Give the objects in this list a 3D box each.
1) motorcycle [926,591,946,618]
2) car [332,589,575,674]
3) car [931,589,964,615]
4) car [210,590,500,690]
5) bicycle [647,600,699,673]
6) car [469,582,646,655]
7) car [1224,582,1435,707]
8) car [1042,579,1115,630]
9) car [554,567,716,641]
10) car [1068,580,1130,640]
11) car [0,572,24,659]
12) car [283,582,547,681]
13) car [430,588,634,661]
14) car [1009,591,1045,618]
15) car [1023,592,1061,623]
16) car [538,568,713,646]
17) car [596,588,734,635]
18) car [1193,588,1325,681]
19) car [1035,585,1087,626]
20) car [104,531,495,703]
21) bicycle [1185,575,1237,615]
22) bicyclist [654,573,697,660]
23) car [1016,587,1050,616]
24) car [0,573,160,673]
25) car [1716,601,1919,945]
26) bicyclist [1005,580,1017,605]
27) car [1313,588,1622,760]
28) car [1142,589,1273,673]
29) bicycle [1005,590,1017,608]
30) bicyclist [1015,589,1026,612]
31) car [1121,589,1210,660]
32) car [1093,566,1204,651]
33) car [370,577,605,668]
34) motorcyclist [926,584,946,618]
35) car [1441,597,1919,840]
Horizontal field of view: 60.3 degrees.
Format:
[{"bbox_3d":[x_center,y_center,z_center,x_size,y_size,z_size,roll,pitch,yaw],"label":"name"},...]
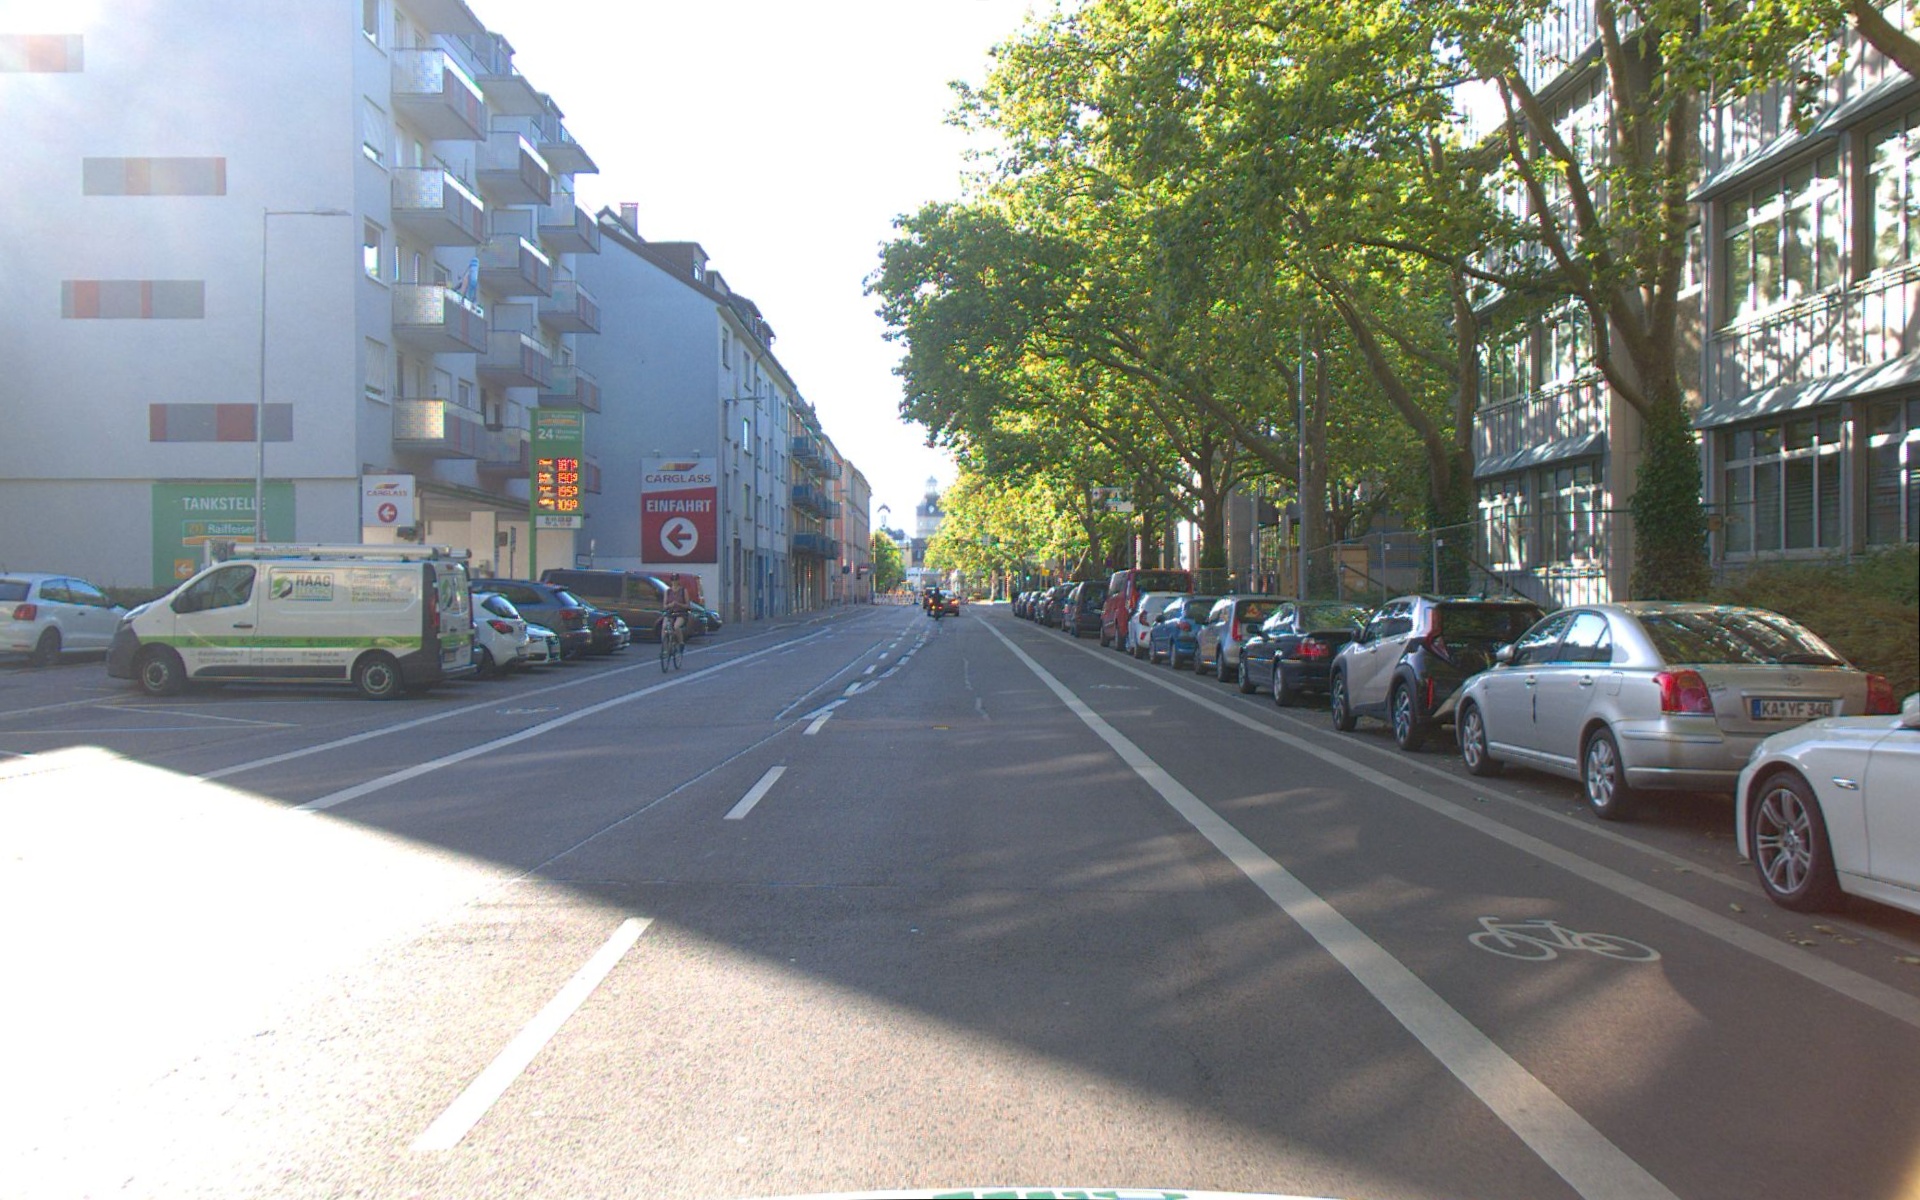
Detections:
[{"bbox_3d":[-1.192,0.206,81.417,0.991,1.329,2.672,-1,0,-1],"label":"motorcycle"},{"bbox_3d":[-9.313,0.557,30.627,3.906,1.458,1.853,1,0,-1],"label":"car"},{"bbox_3d":[-0.730,0.123,94.483,1.791,1.445,3.814,0,0,-1],"label":"car"},{"bbox_3d":[-9.519,0.610,26.255,3.906,1.458,1.852,1,0,-1],"label":"car"},{"bbox_3d":[-5.341,0.650,30.881,0.594,1.261,2.049,-2,1,-1],"label":"bicycle"},{"bbox_3d":[-9.259,0.410,38.281,3.610,1.540,1.830,2,0,-1],"label":"car"},{"bbox_3d":[5.066,0.547,23.327,1.817,1.549,4.598,2,0,-1],"label":"car"},{"bbox_3d":[4.660,0.160,65.783,1.791,1.873,4.889,2,0,-9],"label":"car"},{"bbox_3d":[-9.601,0.106,49.155,4.331,1.985,2.146,2,0,-1],"label":"car"},{"bbox_3d":[4.507,0.298,54.130,1.658,1.844,4.130,2,0,1],"label":"car"},{"bbox_3d":[-17.184,0.247,26.811,1.753,1.489,3.999,2,0,-1],"label":"car"},{"bbox_3d":[-9.315,0.516,28.501,3.906,1.586,1.853,1,1,-1],"label":"car"},{"bbox_3d":[-9.256,0.516,36.005,3.906,1.481,1.916,1,0,-1],"label":"car"},{"bbox_3d":[3.847,0.260,96.179,1.659,1.475,4.433,2,0,-3],"label":"car"},{"bbox_3d":[4.229,0.363,85.519,1.658,1.505,4.318,2,0,-1],"label":"car"},{"bbox_3d":[-9.304,0.187,46.311,4.430,1.985,2.056,2,0,-1],"label":"car"},{"bbox_3d":[-9.694,0.375,54.529,4.142,1.404,2.046,2,0,-1],"label":"car"},{"bbox_3d":[5.232,0.561,29.313,1.581,1.501,3.492,2,0,-2],"label":"car"},{"bbox_3d":[4.311,0.215,71.194,1.740,1.656,4.618,2,0,-2],"label":"car"},{"bbox_3d":[-9.431,0.234,23.947,4.746,2.255,2.139,1,0,-1],"label":"car"},{"bbox_3d":[13.102,-0.252,86.365,2.544,2.049,0.742,-1,0,-1],"label":"bicycle"},{"bbox_3d":[-5.340,0.299,31.038,0.594,1.571,0.934,-2,1,-1],"label":"bicyclist"},{"bbox_3d":[4.014,0.059,91.147,1.658,1.492,4.065,2,0,0],"label":"car"},{"bbox_3d":[-15.005,0.329,27.181,1.753,1.489,3.999,2,0,-1],"label":"car"},{"bbox_3d":[5.069,0.754,6.331,1.818,1.462,4.966,0,0,-4],"label":"car"},{"bbox_3d":[3.185,-0.480,102.962,0.643,1.557,0.852,1,-1,-1],"label":"bicyclist"},{"bbox_3d":[5.129,0.675,17.355,1.817,1.549,4.296,1,0,-1],"label":"car"},{"bbox_3d":[4.970,0.585,33.718,1.818,1.537,3.927,2,1,-3],"label":"car"},{"bbox_3d":[3.176,-0.060,102.999,0.643,1.089,1.926,1,0,-1],"label":"bicycle"},{"bbox_3d":[4.108,0.052,111.782,0.643,1.557,0.906,1,-1,-1],"label":"bicyclist"},{"bbox_3d":[4.715,0.521,38.309,1.604,1.511,3.760,2,0,1],"label":"car"},{"bbox_3d":[4.831,0.210,43.107,2.036,2.029,5.169,2,0,-3],"label":"car"},{"bbox_3d":[-9.427,0.431,33.271,4.109,1.713,2.028,1,0,-1],"label":"car"},{"bbox_3d":[-1.188,0.034,81.365,0.992,1.630,1.405,-1,0,-2],"label":"motorcyclist"},{"bbox_3d":[5.253,0.723,12.443,1.817,1.462,4.601,1,0,-1],"label":"car"}]
